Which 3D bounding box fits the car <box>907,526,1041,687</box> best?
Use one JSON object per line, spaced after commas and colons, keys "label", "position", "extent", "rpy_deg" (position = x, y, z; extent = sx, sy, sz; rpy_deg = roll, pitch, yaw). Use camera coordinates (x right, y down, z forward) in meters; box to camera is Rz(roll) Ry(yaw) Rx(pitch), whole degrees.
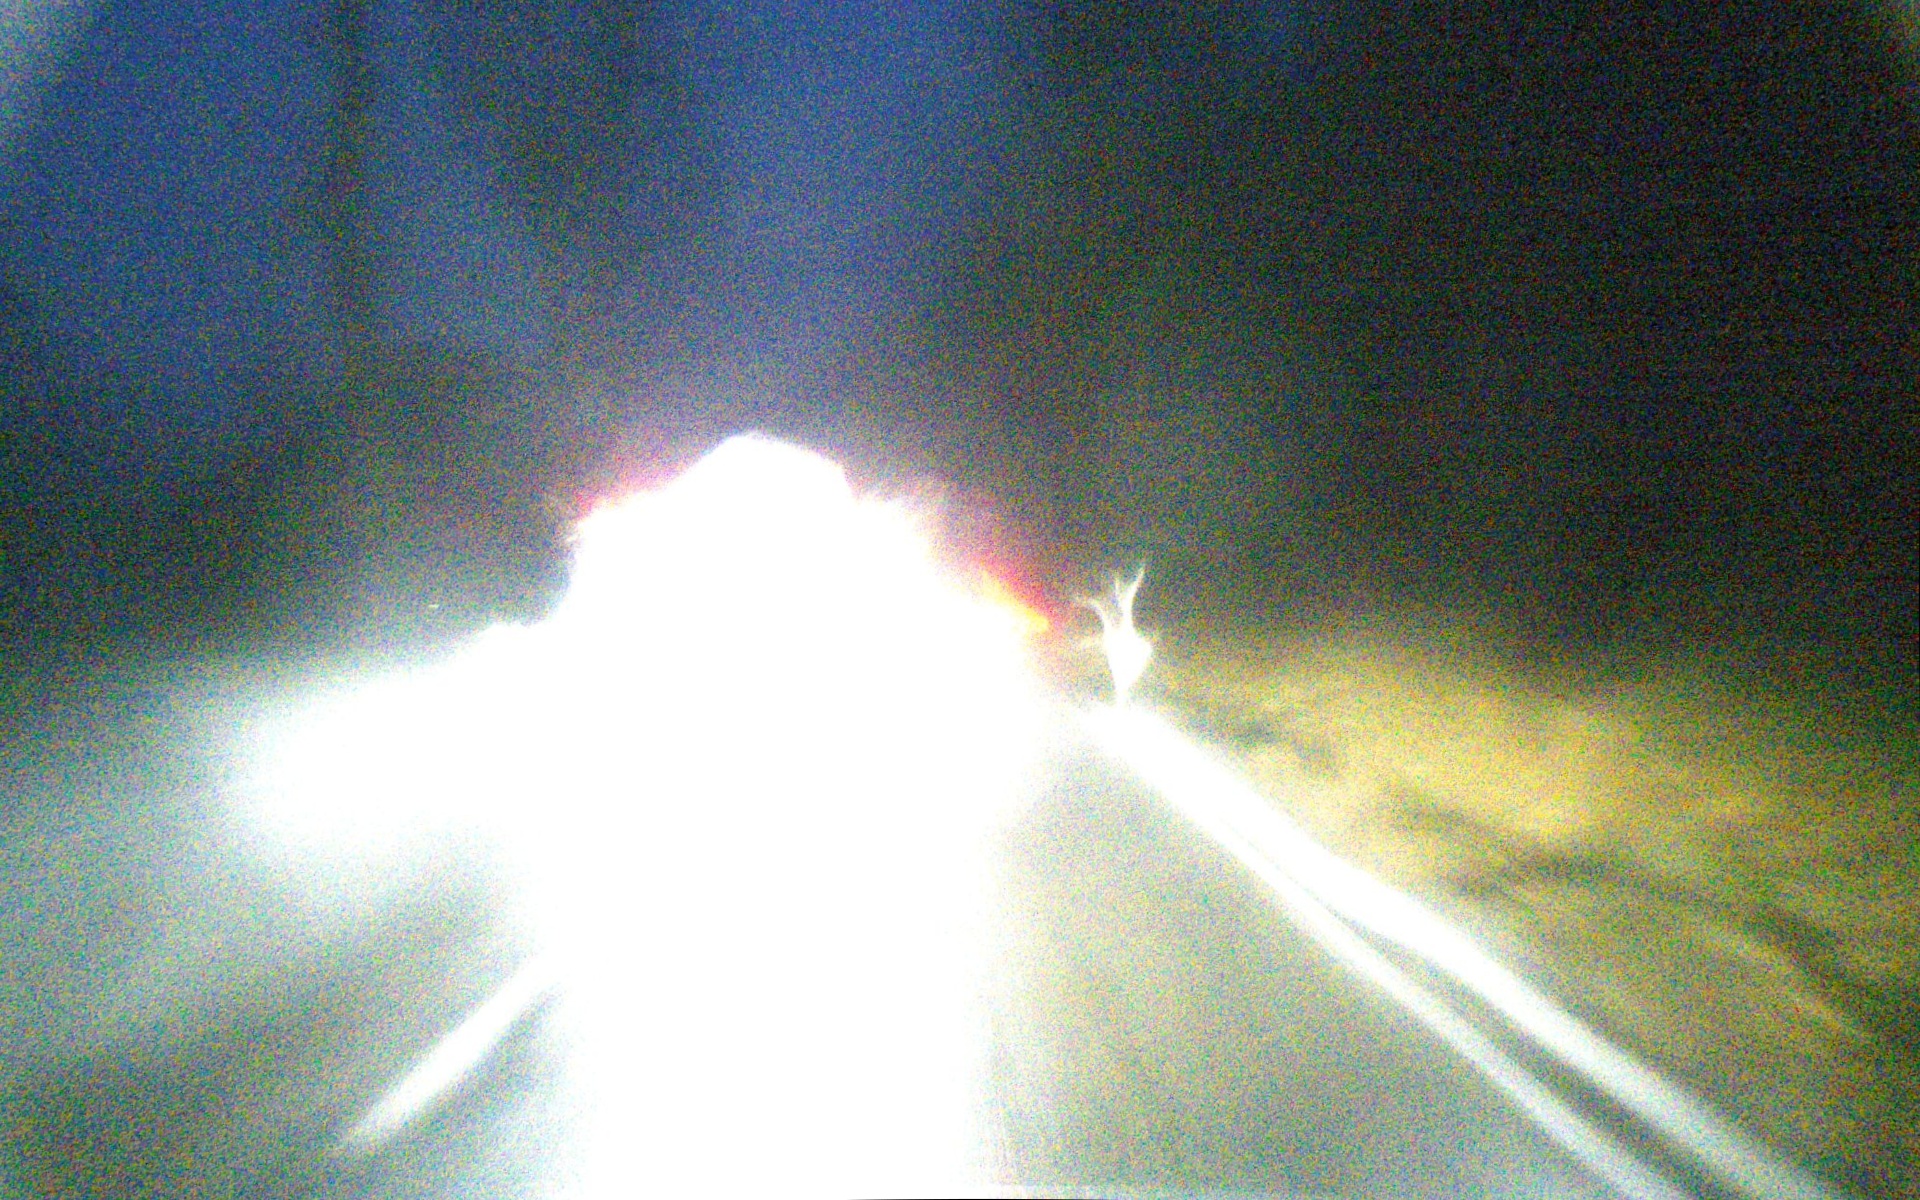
{"label": "car", "position": [0.193, 0.023, 29.463], "extent": [2.137, 2.601, 4.508], "rpy_deg": [1, 2, -1]}

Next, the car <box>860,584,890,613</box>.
{"label": "car", "position": [-6.373, -0.112, 124.014], "extent": [1.953, 2.048, 3.999], "rpy_deg": [-4, 0, -1]}

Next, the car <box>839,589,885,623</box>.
{"label": "car", "position": [-4.722, 0.308, 79.926], "extent": [1.880, 1.497, 4.574], "rpy_deg": [-2, -1, 0]}

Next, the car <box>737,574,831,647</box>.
{"label": "car", "position": [-3.843, 0.192, 36.533], "extent": [1.736, 1.536, 3.689], "rpy_deg": [0, 1, -1]}
